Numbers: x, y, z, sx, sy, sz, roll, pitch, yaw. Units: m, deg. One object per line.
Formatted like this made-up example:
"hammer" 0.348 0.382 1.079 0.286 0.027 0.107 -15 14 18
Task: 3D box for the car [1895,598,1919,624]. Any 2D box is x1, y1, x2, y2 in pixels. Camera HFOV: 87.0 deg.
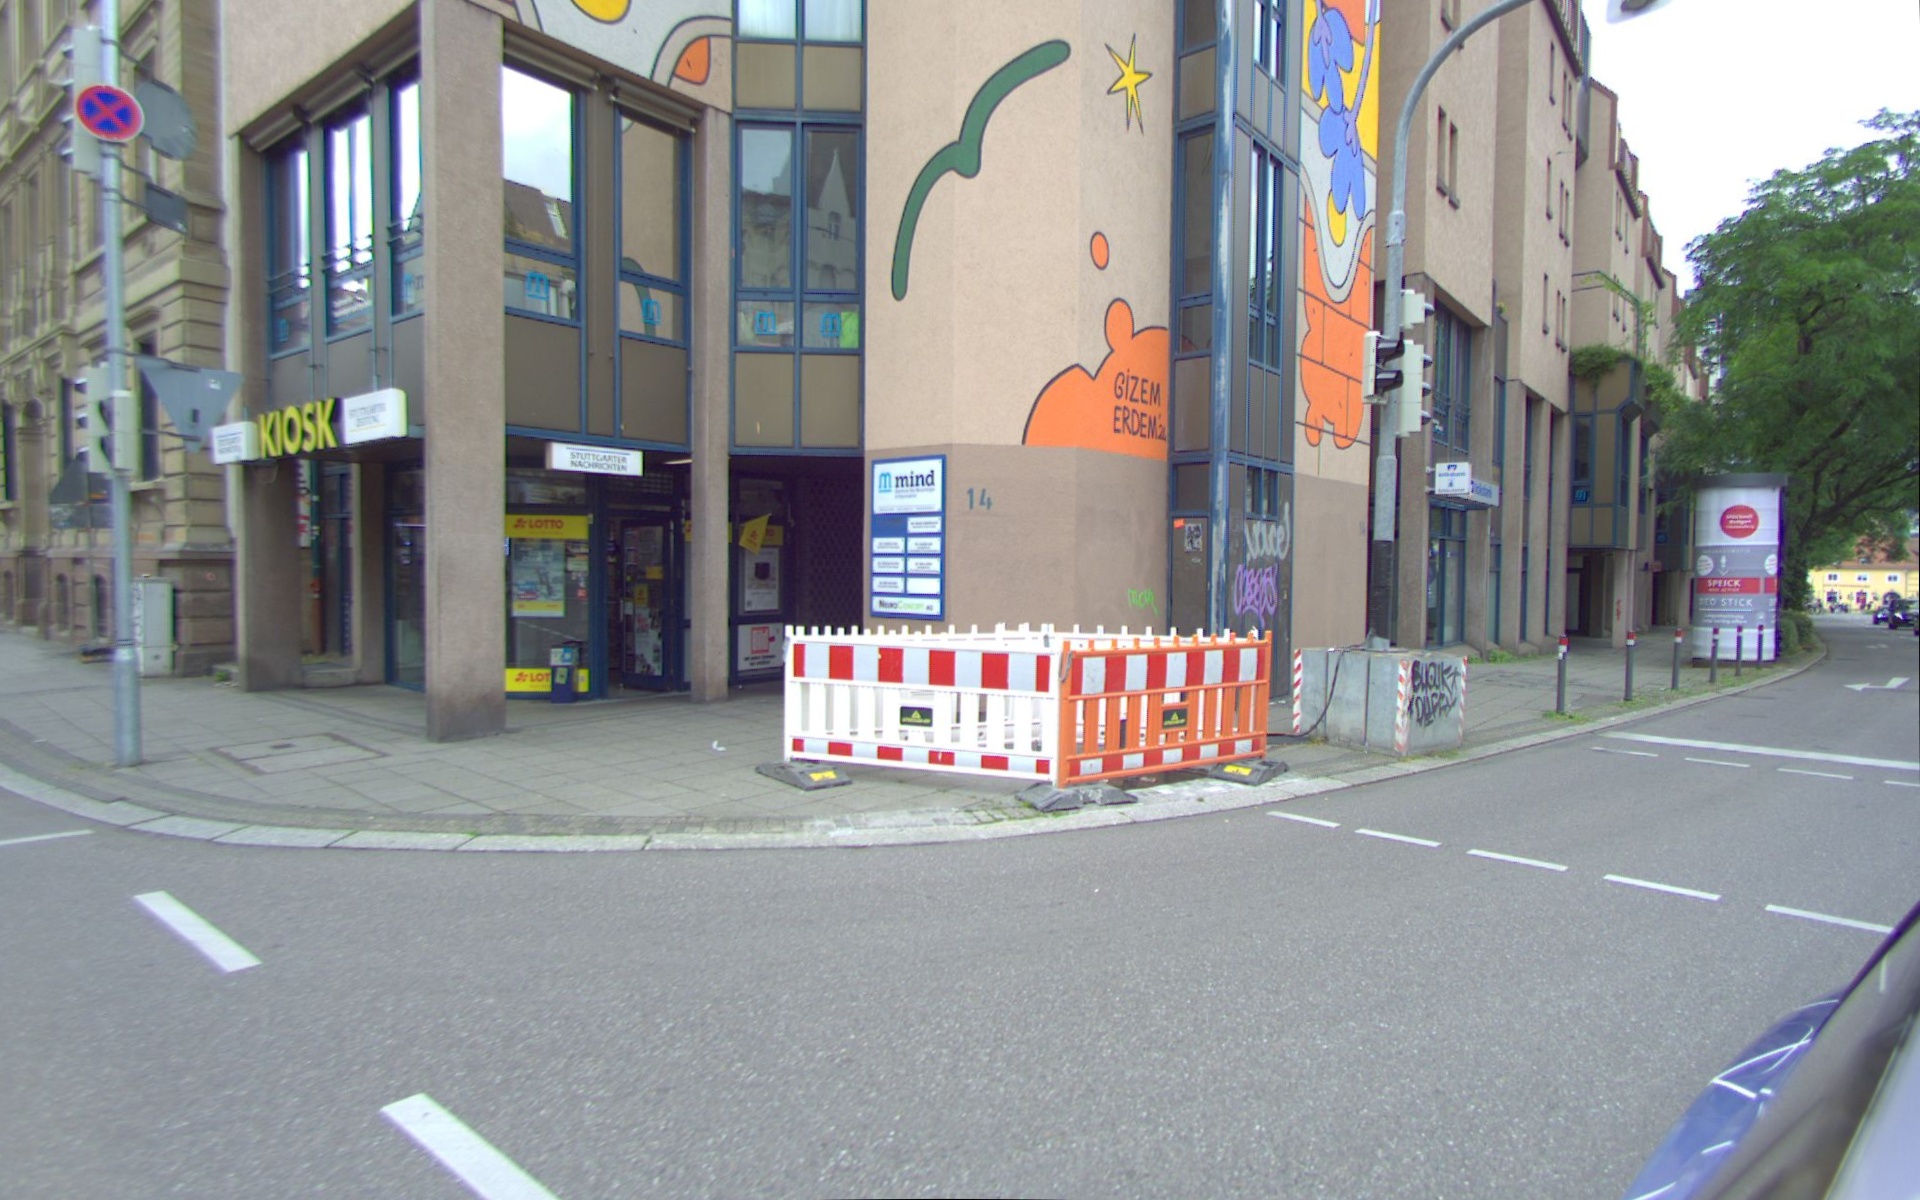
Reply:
"car" 57.387 0.643 60.590 1.945 1.549 3.935 0 0 45

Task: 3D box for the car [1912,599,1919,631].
"car" 48.407 0.722 49.974 1.945 1.549 3.935 0 0 45
